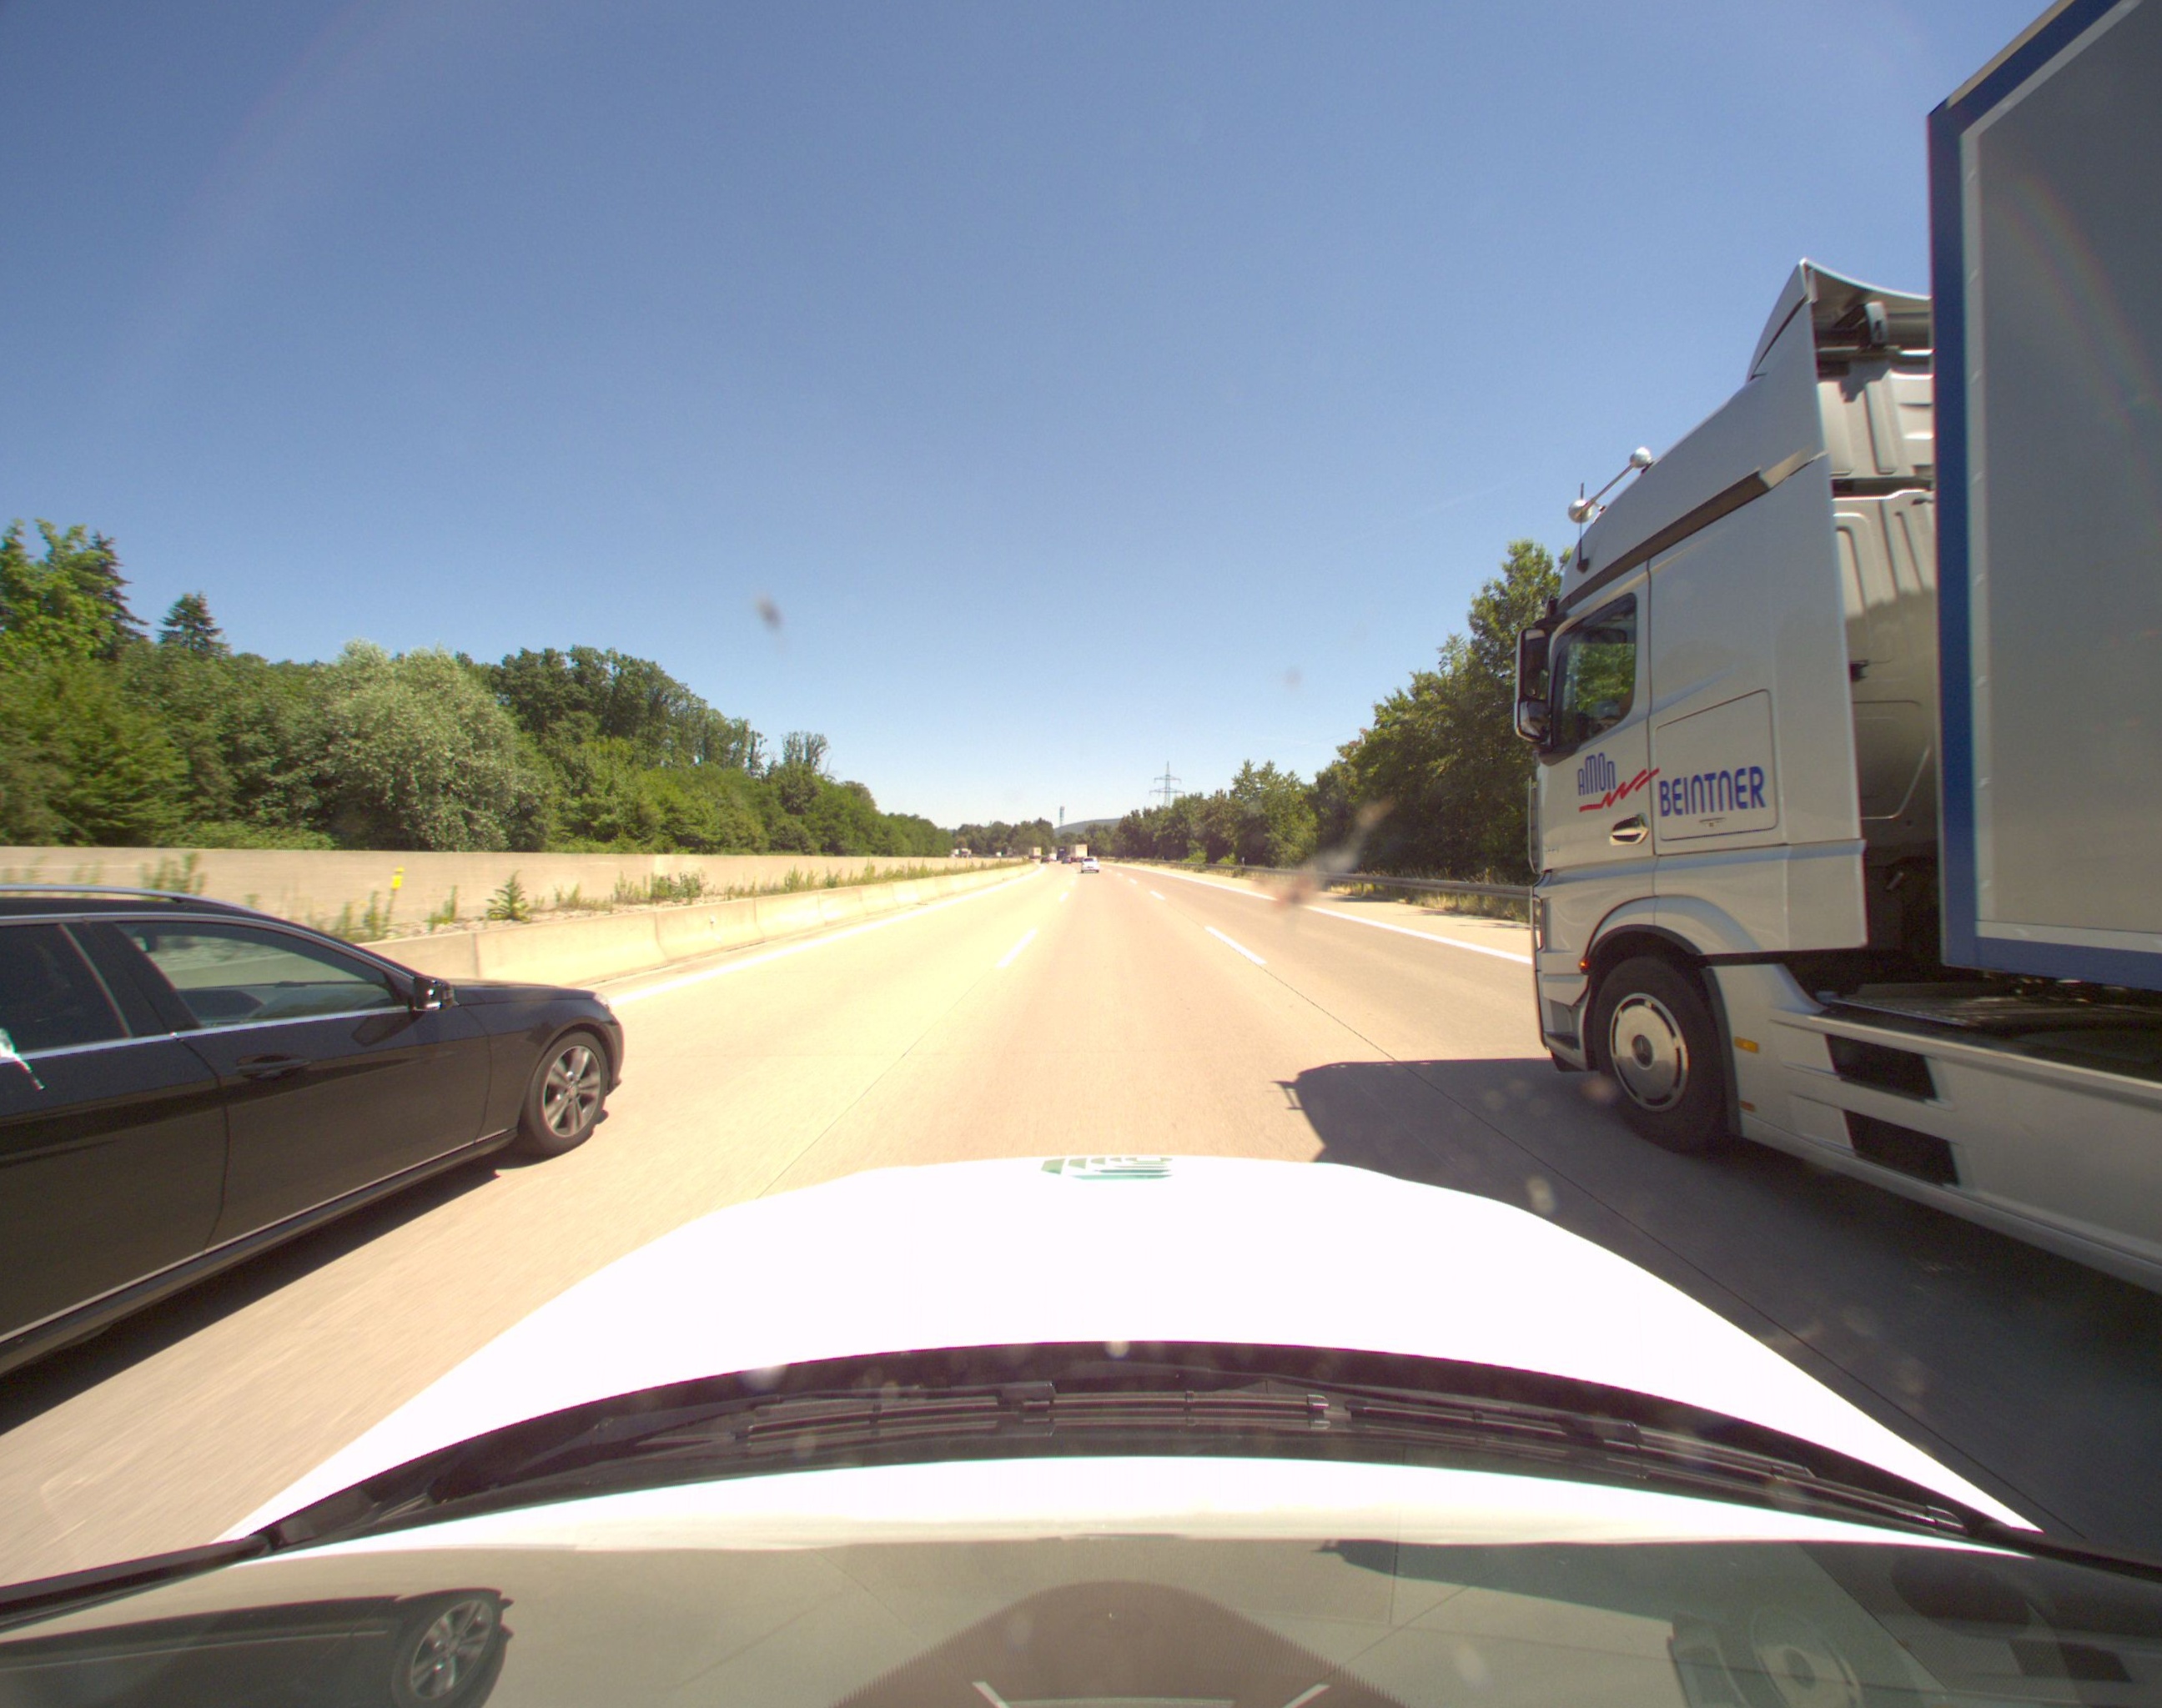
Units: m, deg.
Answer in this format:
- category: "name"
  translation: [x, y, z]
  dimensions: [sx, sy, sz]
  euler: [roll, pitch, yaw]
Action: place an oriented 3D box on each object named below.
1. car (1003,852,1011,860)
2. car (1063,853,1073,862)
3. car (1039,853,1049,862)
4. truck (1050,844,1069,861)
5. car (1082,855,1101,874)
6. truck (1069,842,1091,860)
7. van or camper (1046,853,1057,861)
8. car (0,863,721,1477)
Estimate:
- category: "car"
  translation: [-17.901, 0.564, 196.227]
  dimensions: [1.654, 1.922, 4.005]
  euler: [-1, 0, -1]
- category: "car"
  translation: [-2.526, 0.751, 161.859]
  dimensions: [1.608, 1.725, 3.566]
  euler: [-2, 0, -6]
- category: "car"
  translation: [-8.285, 0.756, 182.793]
  dimensions: [2.019, 1.700, 3.992]
  euler: [4, 0, -6]
- category: "truck"
  translation: [-6.224, -0.403, 235.819]
  dimensions: [3.905, 4.741, 14.012]
  euler: [-2, 0, -8]
- category: "car"
  translation: [1.009, 1.007, 78.620]
  dimensions: [1.636, 1.662, 3.360]
  euler: [3, 0, 1]
- category: "truck"
  translation: [-0.264, -0.656, 186.333]
  dimensions: [3.814, 3.889, 14.127]
  euler: [-2, 0, -5]
- category: "van or camper"
  translation: [-7.795, 0.783, 215.678]
  dimensions: [1.872, 1.838, 3.976]
  euler: [-2, 0, -17]
- category: "car"
  translation: [-3.631, 0.834, 3.124]
  dimensions: [1.884, 1.473, 5.604]
  euler: [-1, 0, 1]
